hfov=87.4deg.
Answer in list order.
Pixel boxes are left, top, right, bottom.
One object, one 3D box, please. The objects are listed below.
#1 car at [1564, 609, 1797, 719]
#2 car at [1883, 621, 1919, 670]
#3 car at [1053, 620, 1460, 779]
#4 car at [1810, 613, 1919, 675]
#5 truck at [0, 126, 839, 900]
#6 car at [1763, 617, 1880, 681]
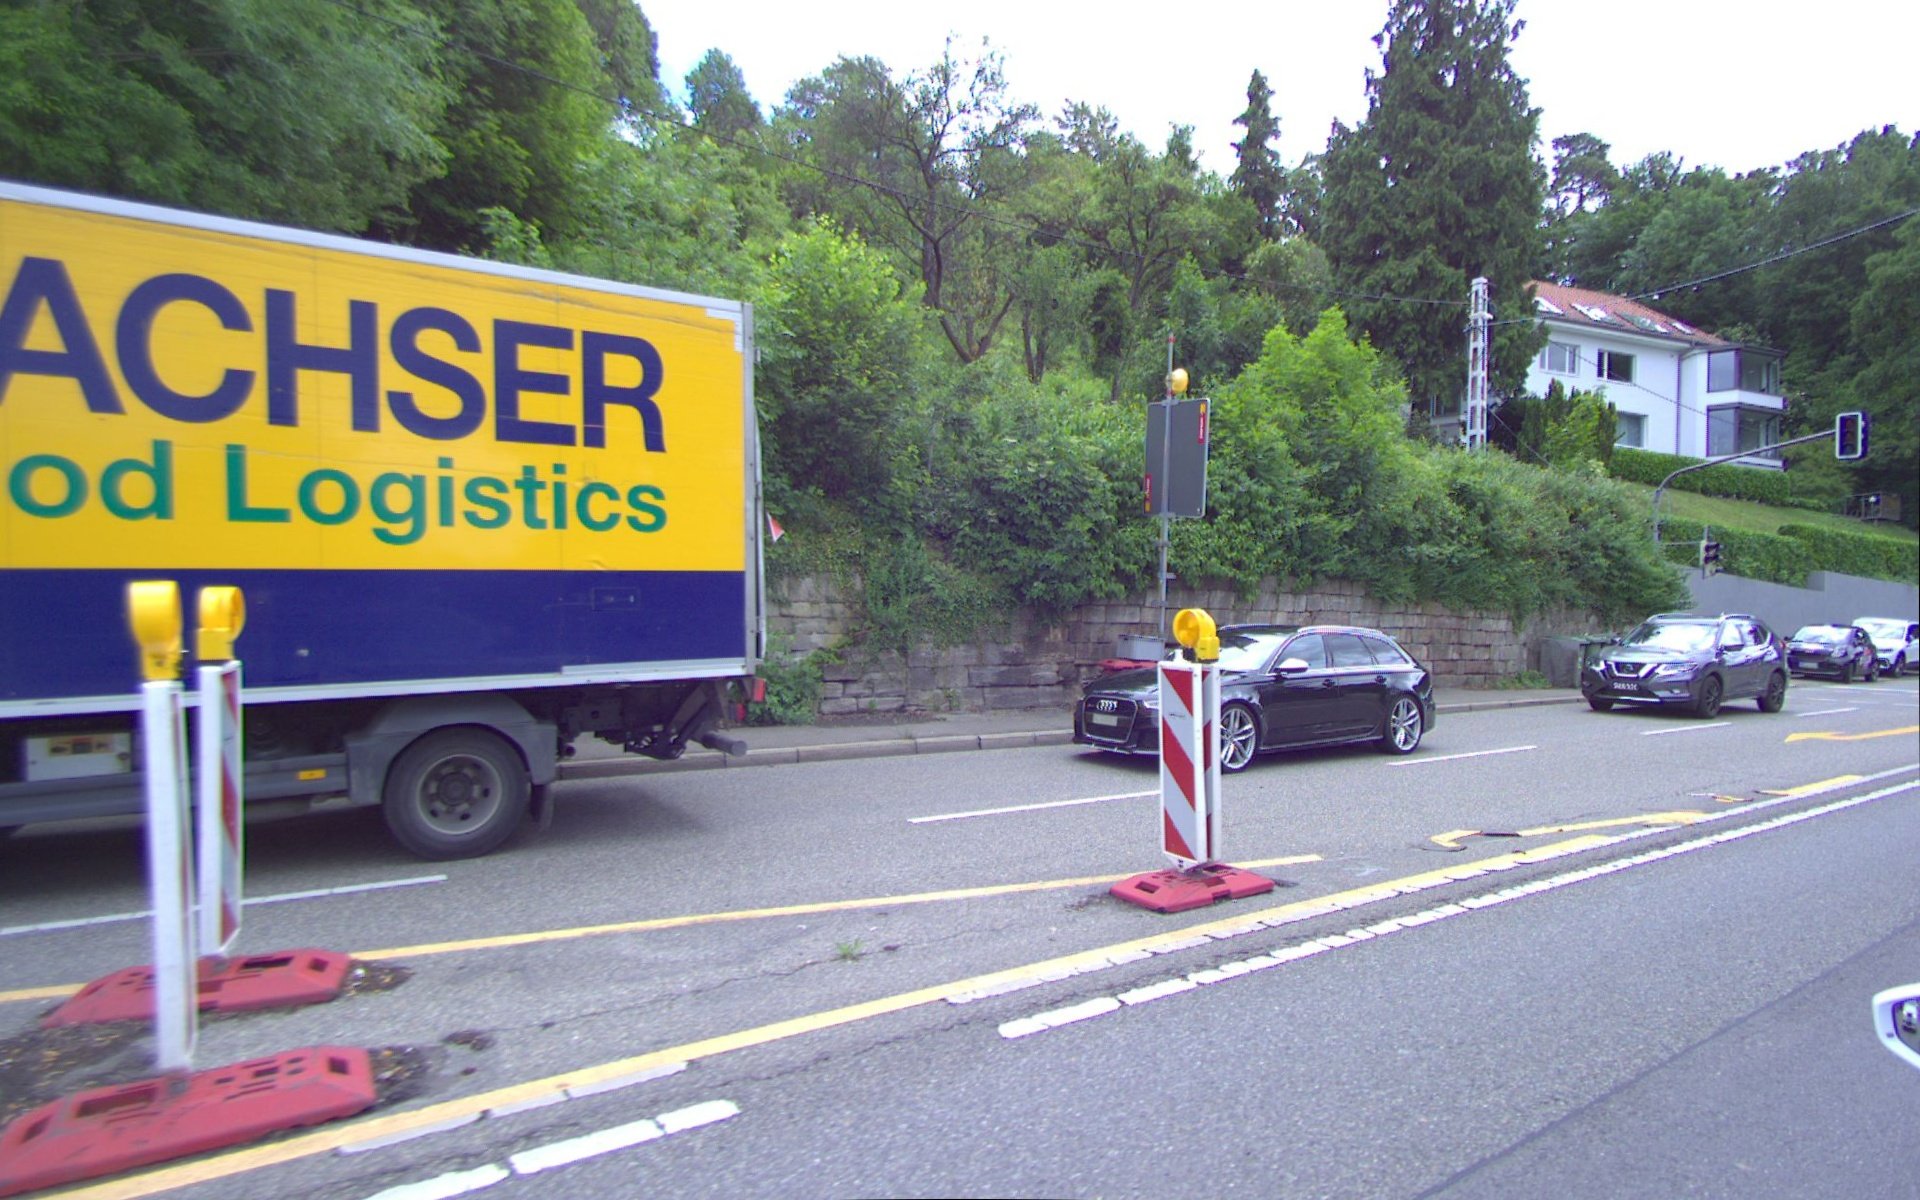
[{"bbox_3d":[12.802,1.062,17.757,4.623,1.719,1.872,2,-1,-34],"label":"car"},{"bbox_3d":[33.538,1.572,33.986,4.414,1.593,1.827,2,0,-25],"label":"car"},{"bbox_3d":[3.495,0.985,11.432,4.824,1.449,1.799,1,-1,-34],"label":"car"},{"bbox_3d":[28.540,1.343,31.203,4.708,1.754,1.849,2,1,-32],"label":"car"},{"bbox_3d":[-4.627,-0.370,6.103,7.272,3.556,2.715,2,-1,-34],"label":"truck"},{"bbox_3d":[24.375,1.347,28.407,2.926,1.594,1.701,0,3,-33],"label":"car"}]
